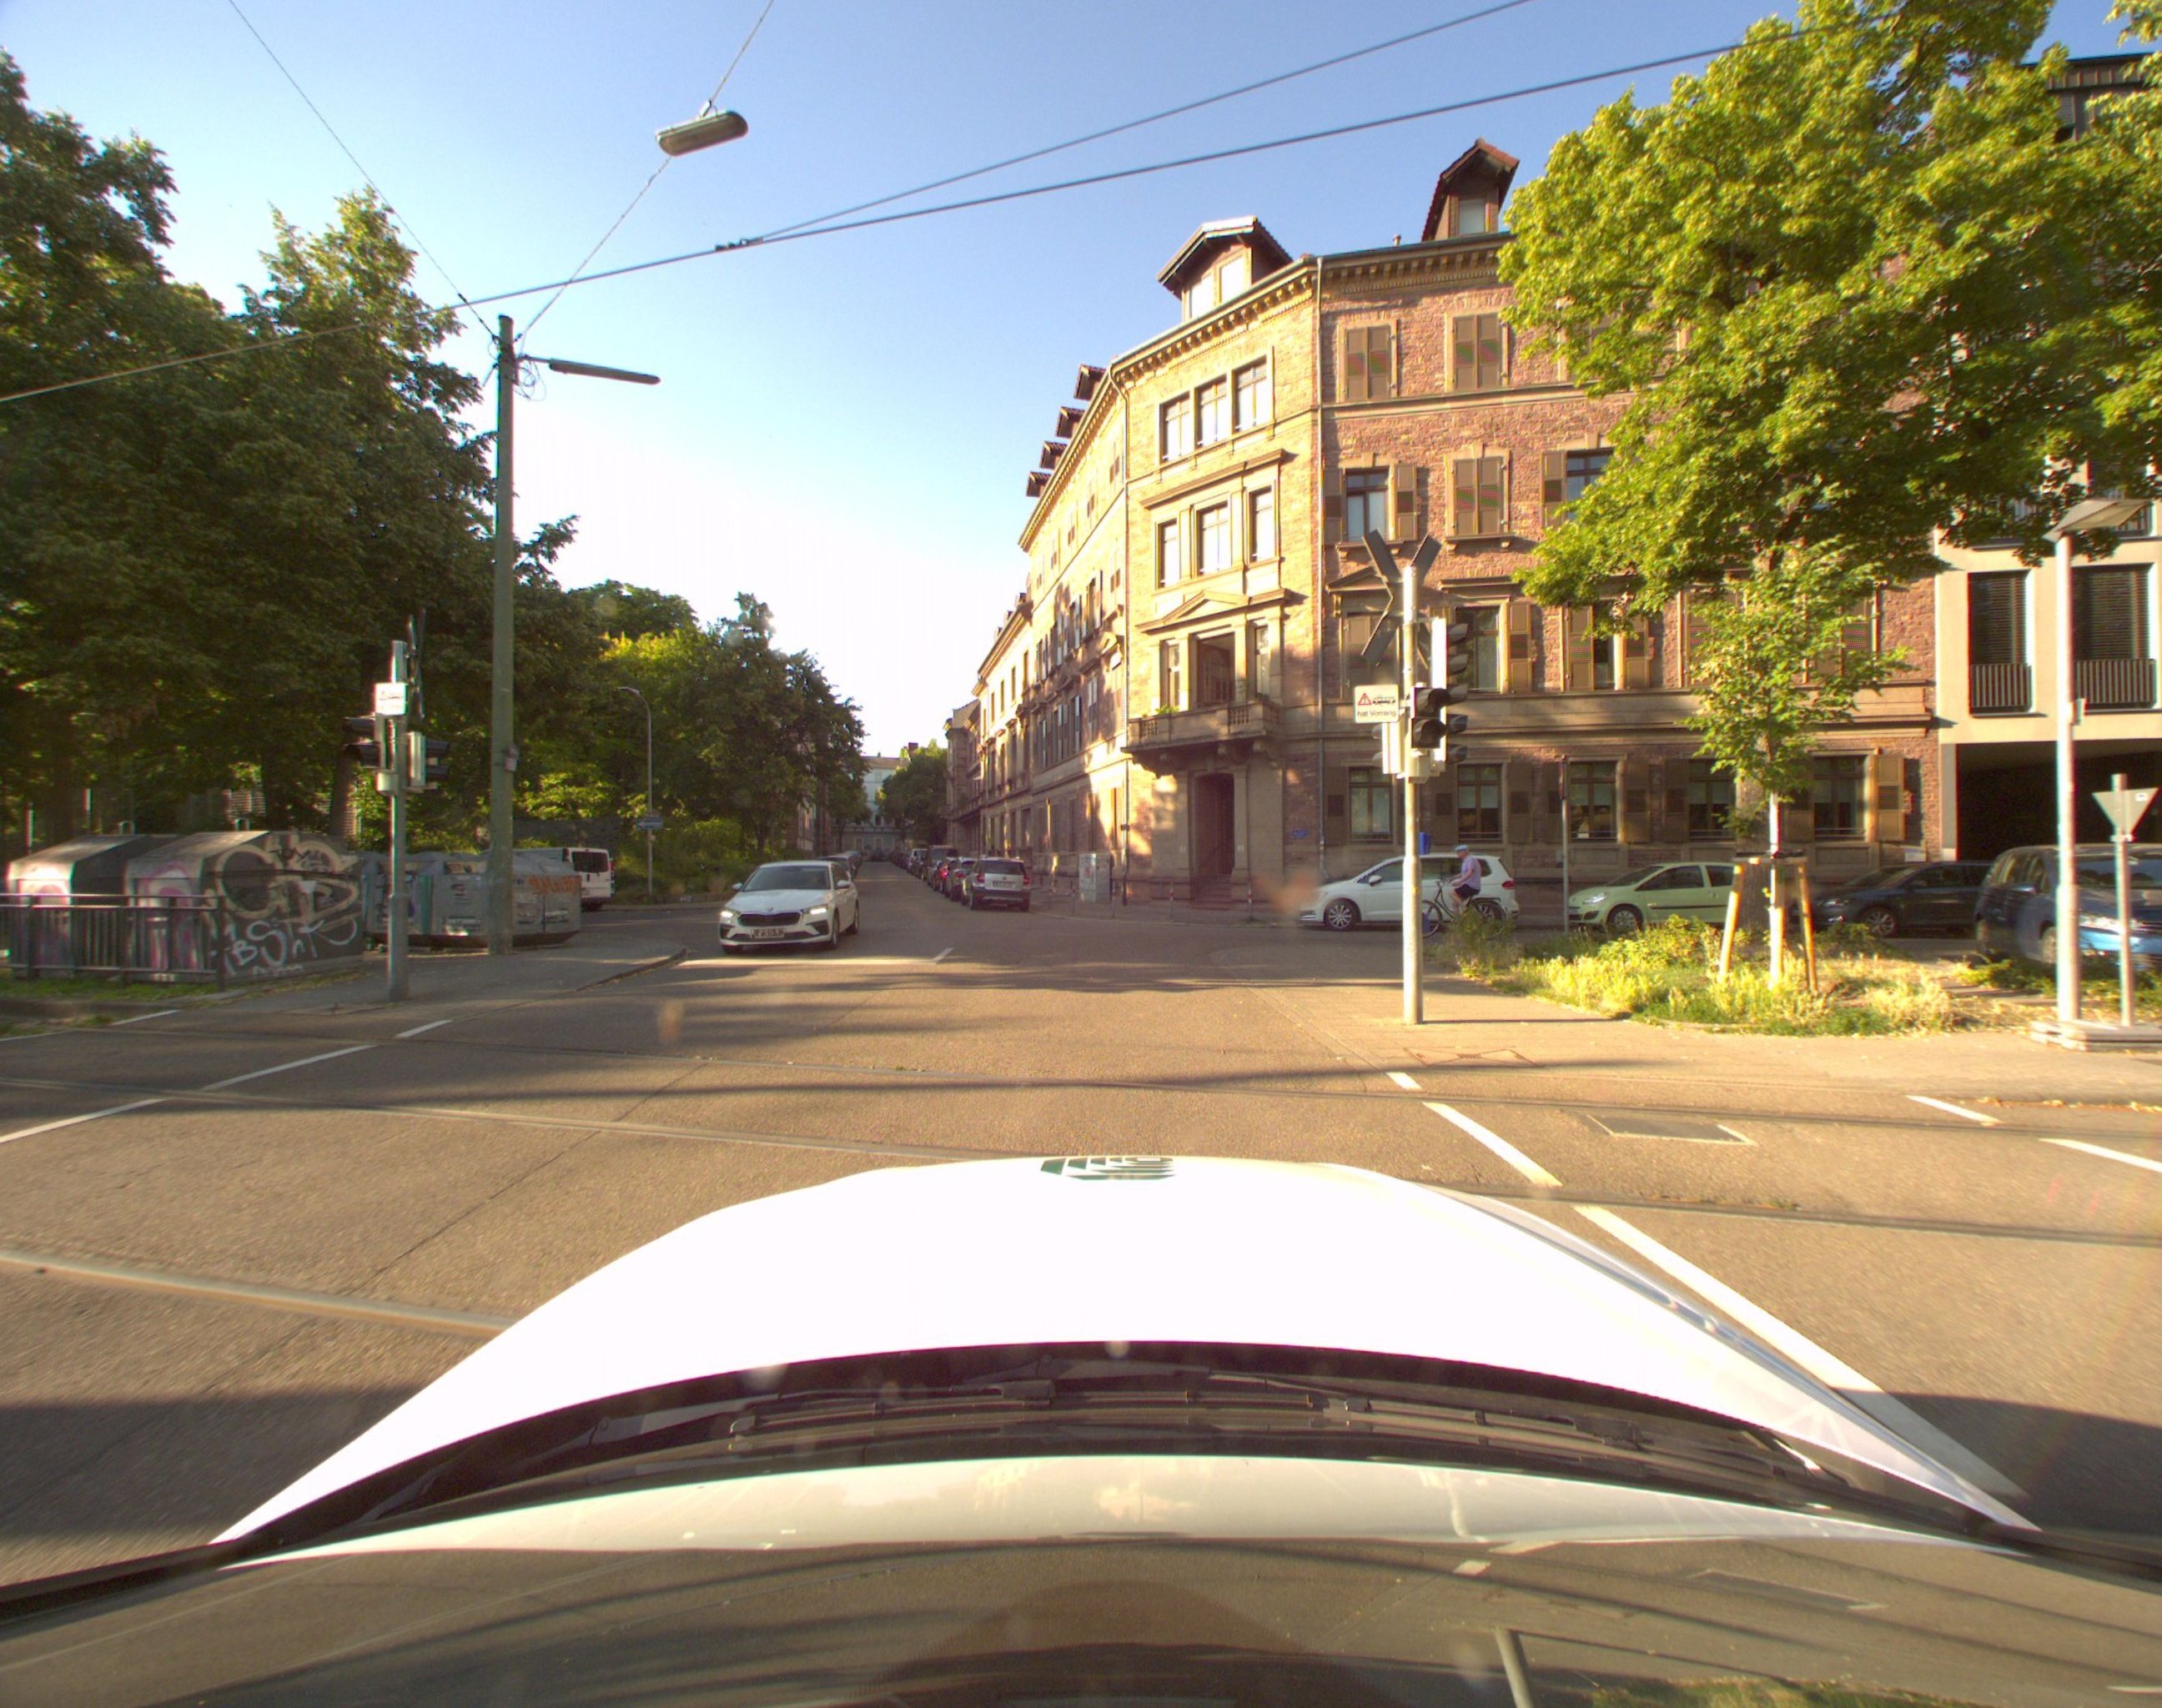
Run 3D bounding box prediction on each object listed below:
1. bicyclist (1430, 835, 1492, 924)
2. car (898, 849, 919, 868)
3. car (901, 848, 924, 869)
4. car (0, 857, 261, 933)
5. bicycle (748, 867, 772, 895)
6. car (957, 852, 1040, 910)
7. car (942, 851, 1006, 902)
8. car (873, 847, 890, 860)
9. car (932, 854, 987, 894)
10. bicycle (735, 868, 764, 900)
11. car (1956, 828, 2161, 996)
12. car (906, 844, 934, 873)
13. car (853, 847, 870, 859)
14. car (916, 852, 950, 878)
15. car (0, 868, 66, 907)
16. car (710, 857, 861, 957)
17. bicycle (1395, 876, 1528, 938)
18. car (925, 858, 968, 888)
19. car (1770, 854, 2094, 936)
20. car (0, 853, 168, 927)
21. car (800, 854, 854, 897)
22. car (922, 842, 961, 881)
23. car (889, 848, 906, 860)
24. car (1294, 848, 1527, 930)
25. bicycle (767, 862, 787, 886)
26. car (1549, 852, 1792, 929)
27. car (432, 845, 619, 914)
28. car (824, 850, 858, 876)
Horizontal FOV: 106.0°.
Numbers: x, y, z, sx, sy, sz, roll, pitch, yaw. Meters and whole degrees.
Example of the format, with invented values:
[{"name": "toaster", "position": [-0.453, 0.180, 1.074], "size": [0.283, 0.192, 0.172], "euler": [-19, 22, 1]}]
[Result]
[{"name": "bicyclist", "position": [7.037, 0.458, 15.107], "size": [0.866, 1.588, 0.702], "euler": [1, 0, 7]}, {"name": "car", "position": [-16.730, 0.387, 78.978], "size": [1.800, 1.728, 3.935], "euler": [2, -1, -15]}, {"name": "car", "position": [-15.311, 0.423, 74.001], "size": [1.800, 1.839, 3.935], "euler": [2, -1, -15]}, {"name": "car", "position": [-20.186, 0.858, 17.390], "size": [1.587, 1.447, 3.640], "euler": [-1, -3, 42]}, {"name": "bicycle", "position": [-13.362, 1.095, 33.966], "size": [0.598, 1.101, 2.614], "euler": [0, 0, -14]}, {"name": "car", "position": [-2.734, 0.824, 26.114], "size": [1.919, 1.657, 4.165], "euler": [3, -1, -15]}, {"name": "car", "position": [-4.147, 0.811, 31.008], "size": [1.828, 1.724, 4.521], "euler": [3, -1, -14]}, {"name": "car", "position": [-29.762, -0.053, 121.572], "size": [2.000, 1.684, 3.972], "euler": [1, -2, -20]}, {"name": "car", "position": [-5.427, 0.833, 35.992], "size": [1.802, 1.614, 3.932], "euler": [2, -1, -17]}, {"name": "bicycle", "position": [-12.740, 1.129, 31.331], "size": [0.597, 1.101, 2.616], "euler": [0, 0, -12]}, {"name": "car", "position": [12.379, 0.616, 9.850], "size": [1.719, 1.687, 4.447], "euler": [-1, -1, 38]}, {"name": "car", "position": [-12.488, 0.340, 62.941], "size": [1.800, 2.072, 3.935], "euler": [2, -1, -15]}, {"name": "car", "position": [-32.447, -0.124, 120.450], "size": [2.000, 1.684, 3.972], "euler": [1, -2, -20]}, {"name": "car", "position": [-9.520, 0.707, 52.071], "size": [1.800, 1.524, 3.935], "euler": [2, -1, -15]}, {"name": "car", "position": [-40.605, 1.249, 30.718], "size": [3.562, 1.385, 1.583], "euler": [-1, 0, 15]}, {"name": "car", "position": [-5.013, 0.800, 14.373], "size": [1.701, 1.456, 4.051], "euler": [0, 0, -8]}, {"name": "bicycle", "position": [7.021, 0.971, 15.104], "size": [2.105, 1.054, 0.702], "euler": [1, 0, 7]}, {"name": "car", "position": [-6.930, 0.938, 41.612], "size": [1.800, 1.345, 3.935], "euler": [2, -1, -15]}, {"name": "car", "position": [16.510, 0.786, 16.044], "size": [4.123, 1.490, 1.747], "euler": [0, -3, 11]}, {"name": "car", "position": [-23.090, 0.794, 18.097], "size": [1.587, 1.563, 3.640], "euler": [-1, -3, 43]}, {"name": "car", "position": [-10.548, 0.869, 34.087], "size": [1.828, 1.615, 4.270], "euler": [3, -1, -14]}, {"name": "car", "position": [-8.049, 0.416, 46.685], "size": [1.800, 2.072, 3.935], "euler": [2, -1, -15]}, {"name": "car", "position": [-27.638, -0.003, 122.303], "size": [2.000, 1.684, 3.972], "euler": [1, -2, -20]}, {"name": "car", "position": [7.008, 0.756, 17.805], "size": [4.454, 1.650, 1.880], "euler": [0, -3, 11]}, {"name": "bicycle", "position": [-14.996, 0.963, 40.242], "size": [0.597, 1.101, 2.615], "euler": [0, 0, -13]}, {"name": "car", "position": [12.104, 0.755, 16.970], "size": [3.690, 1.490, 1.746], "euler": [0, -3, 9]}, {"name": "car", "position": [-16.814, 0.749, 24.733], "size": [4.615, 2.003, 1.956], "euler": [-1, 0, 11]}, {"name": "car", "position": [-15.339, 0.570, 52.126], "size": [1.828, 1.500, 3.912], "euler": [3, -1, -14]}]
